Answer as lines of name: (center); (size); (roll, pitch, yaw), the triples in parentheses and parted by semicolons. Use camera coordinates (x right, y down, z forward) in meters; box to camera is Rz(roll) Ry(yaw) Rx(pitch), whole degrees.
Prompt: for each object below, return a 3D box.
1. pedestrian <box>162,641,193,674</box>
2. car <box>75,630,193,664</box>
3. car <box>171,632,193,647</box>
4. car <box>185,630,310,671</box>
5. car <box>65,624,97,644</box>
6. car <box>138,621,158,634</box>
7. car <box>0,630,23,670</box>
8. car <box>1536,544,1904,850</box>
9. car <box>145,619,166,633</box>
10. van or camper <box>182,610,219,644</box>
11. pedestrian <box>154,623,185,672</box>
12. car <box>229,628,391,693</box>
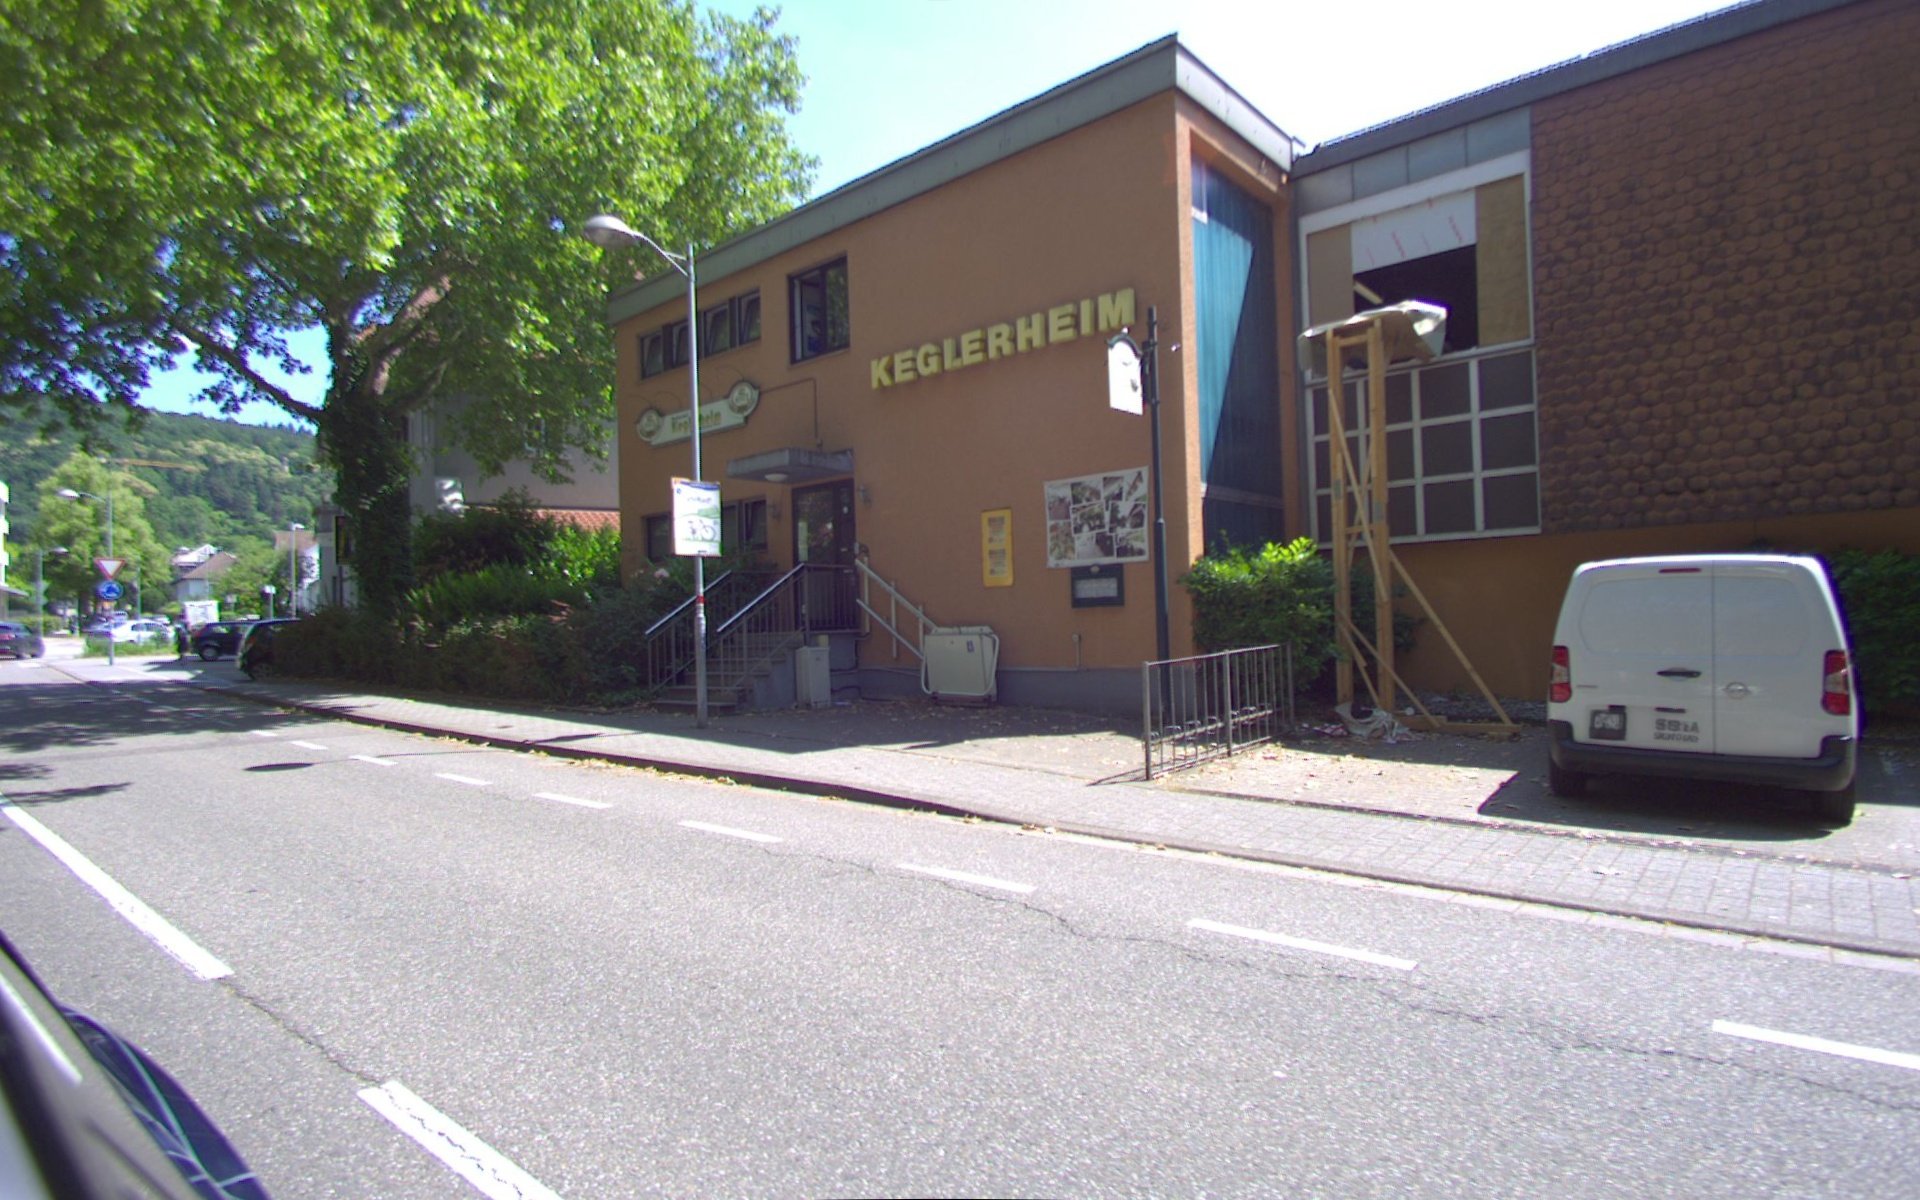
pedestrian: (-27.289, 2.003, 35.285); (0.745, 1.130, 0.898); (2, -3, -43)
car: (-37.459, 2.107, 46.023); (1.594, 1.463, 3.980); (-1, -2, 15)
car: (-80.325, 4.096, 104.485); (1.728, 1.516, 4.000); (1, -2, -38)
car: (-26.864, 1.880, 38.187); (3.732, 1.471, 1.727); (1, -2, -39)
car: (-67.096, 2.584, 77.289); (1.728, 1.516, 3.999); (1, -2, -39)
car: (-108.016, 3.617, 134.621); (1.968, 1.679, 4.006); (1, -1, -40)
car: (-36.691, 1.869, 38.131); (1.746, 1.437, 4.400); (2, -2, -39)
car: (6.027, 0.572, 8.134); (1.865, 1.806, 3.949); (-2, 0, 38)
car: (-100.732, 3.212, 126.709); (1.968, 1.679, 4.006); (1, -1, -40)
van or camper: (-64.225, 2.260, 85.495); (2.238, 2.658, 5.896); (-2, 0, -39)
pedestrian: (-29.154, 1.748, 37.340); (0.860, 1.756, 1.115); (1, -2, -37)
car: (-16.708, 1.504, 26.072); (3.338, 1.558, 1.727); (1, -2, -39)
